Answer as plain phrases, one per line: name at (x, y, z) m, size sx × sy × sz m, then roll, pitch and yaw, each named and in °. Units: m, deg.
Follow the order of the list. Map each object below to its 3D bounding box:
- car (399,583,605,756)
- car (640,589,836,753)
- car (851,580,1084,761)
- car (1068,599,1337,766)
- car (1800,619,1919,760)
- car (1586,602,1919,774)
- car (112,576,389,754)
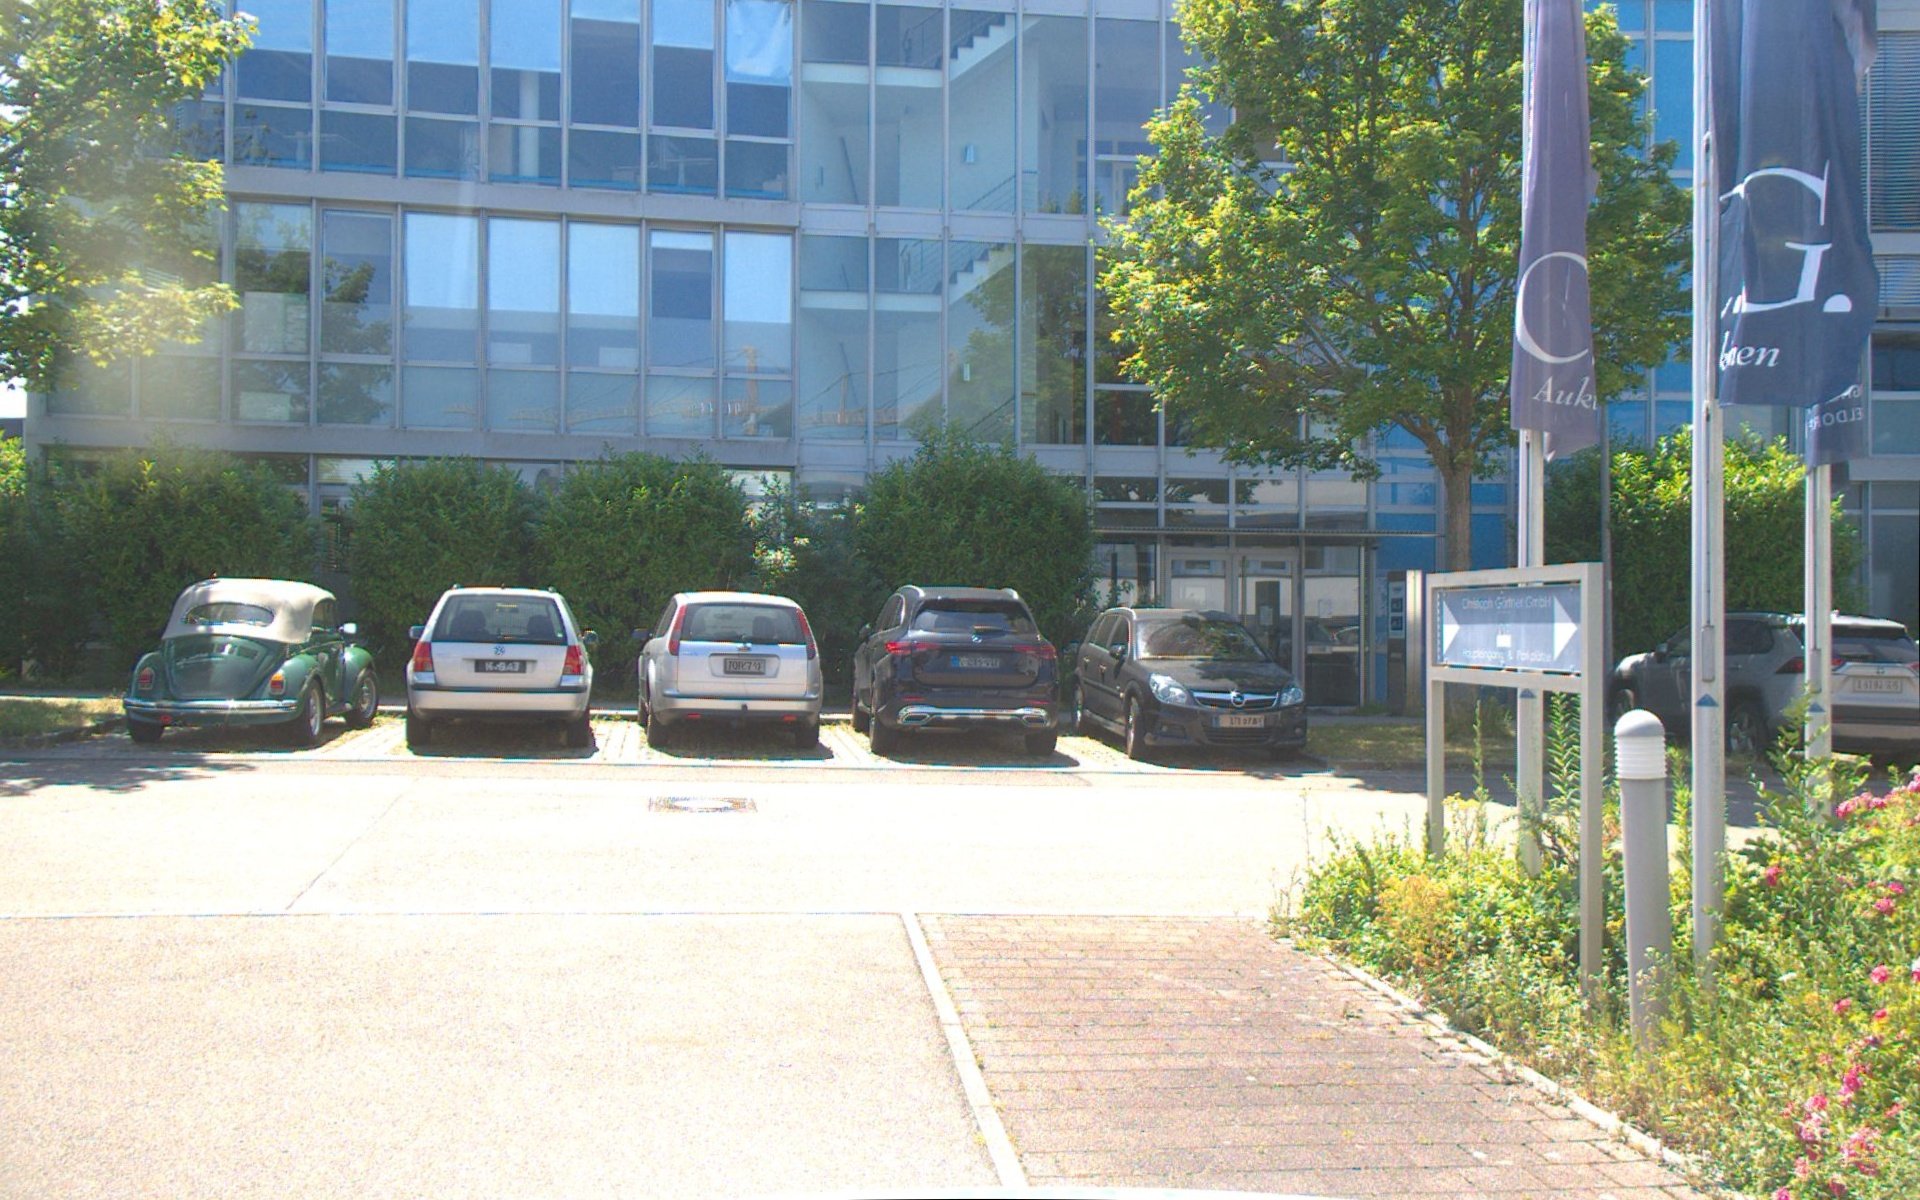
car at (-4.439, 0.611, 16.473) m, size 1.701 × 1.474 × 3.643 m, roll 2°, pitch 0°, yaw -12°
car at (-2.427, 0.667, 17.367) m, size 1.734 × 1.474 × 3.643 m, roll 2°, pitch 0°, yaw -12°
car at (-0.051, 0.648, 17.507) m, size 1.891 × 1.639 × 3.980 m, roll 2°, pitch 0°, yaw -8°
car at (2.437, 0.787, 17.717) m, size 1.736 × 1.508 × 4.251 m, roll 1°, pitch 1°, yaw -8°
car at (11.585, 1.054, 18.520) m, size 1.703 × 1.518 × 4.332 m, roll 2°, pitch 0°, yaw -8°
car at (9.061, 0.893, 18.788) m, size 1.785 × 1.648 × 4.332 m, roll 1°, pitch 1°, yaw -8°
car at (-6.663, 0.539, 15.908) m, size 1.513 × 1.474 × 3.647 m, roll 2°, pitch 0°, yaw -8°
